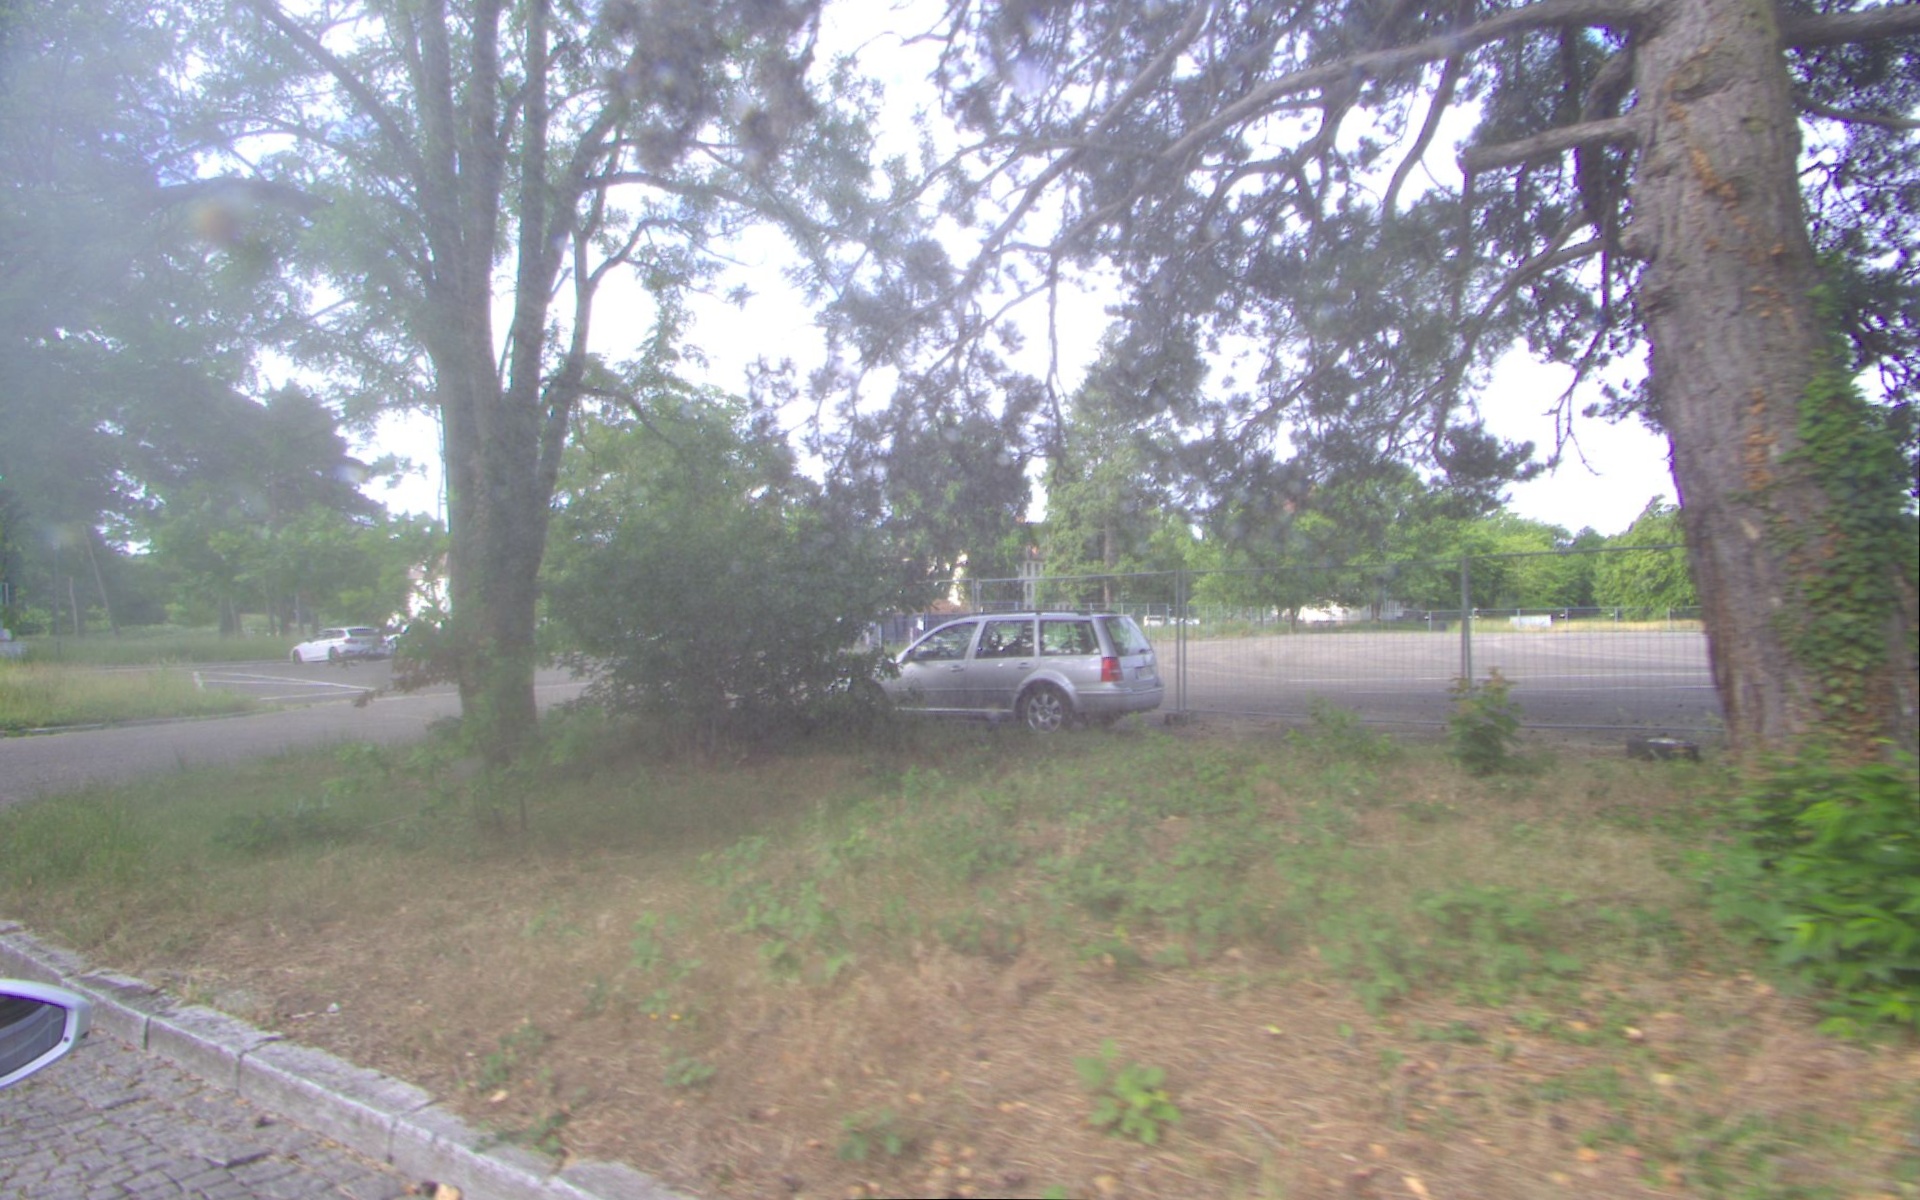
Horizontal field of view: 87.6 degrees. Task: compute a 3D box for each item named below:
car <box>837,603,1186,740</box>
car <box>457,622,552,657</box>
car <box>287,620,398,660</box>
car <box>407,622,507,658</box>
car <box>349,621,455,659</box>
[{"bbox_3d":[0.578,0.845,12.347,4.014,1.444,1.645,-1,-4,31],"label":"car"},{"bbox_3d":[-21.952,1.924,48.220,4.359,1.542,1.992,-3,-3,29],"label":"car"},{"bbox_3d":[-25.327,1.633,41.067,4.359,1.500,1.992,-3,-2,29],"label":"car"},{"bbox_3d":[-22.971,1.835,45.708,4.359,1.500,1.992,-3,-2,29],"label":"car"},{"bbox_3d":[-24.143,1.730,43.293,4.359,1.500,1.992,-3,-2,29],"label":"car"}]
